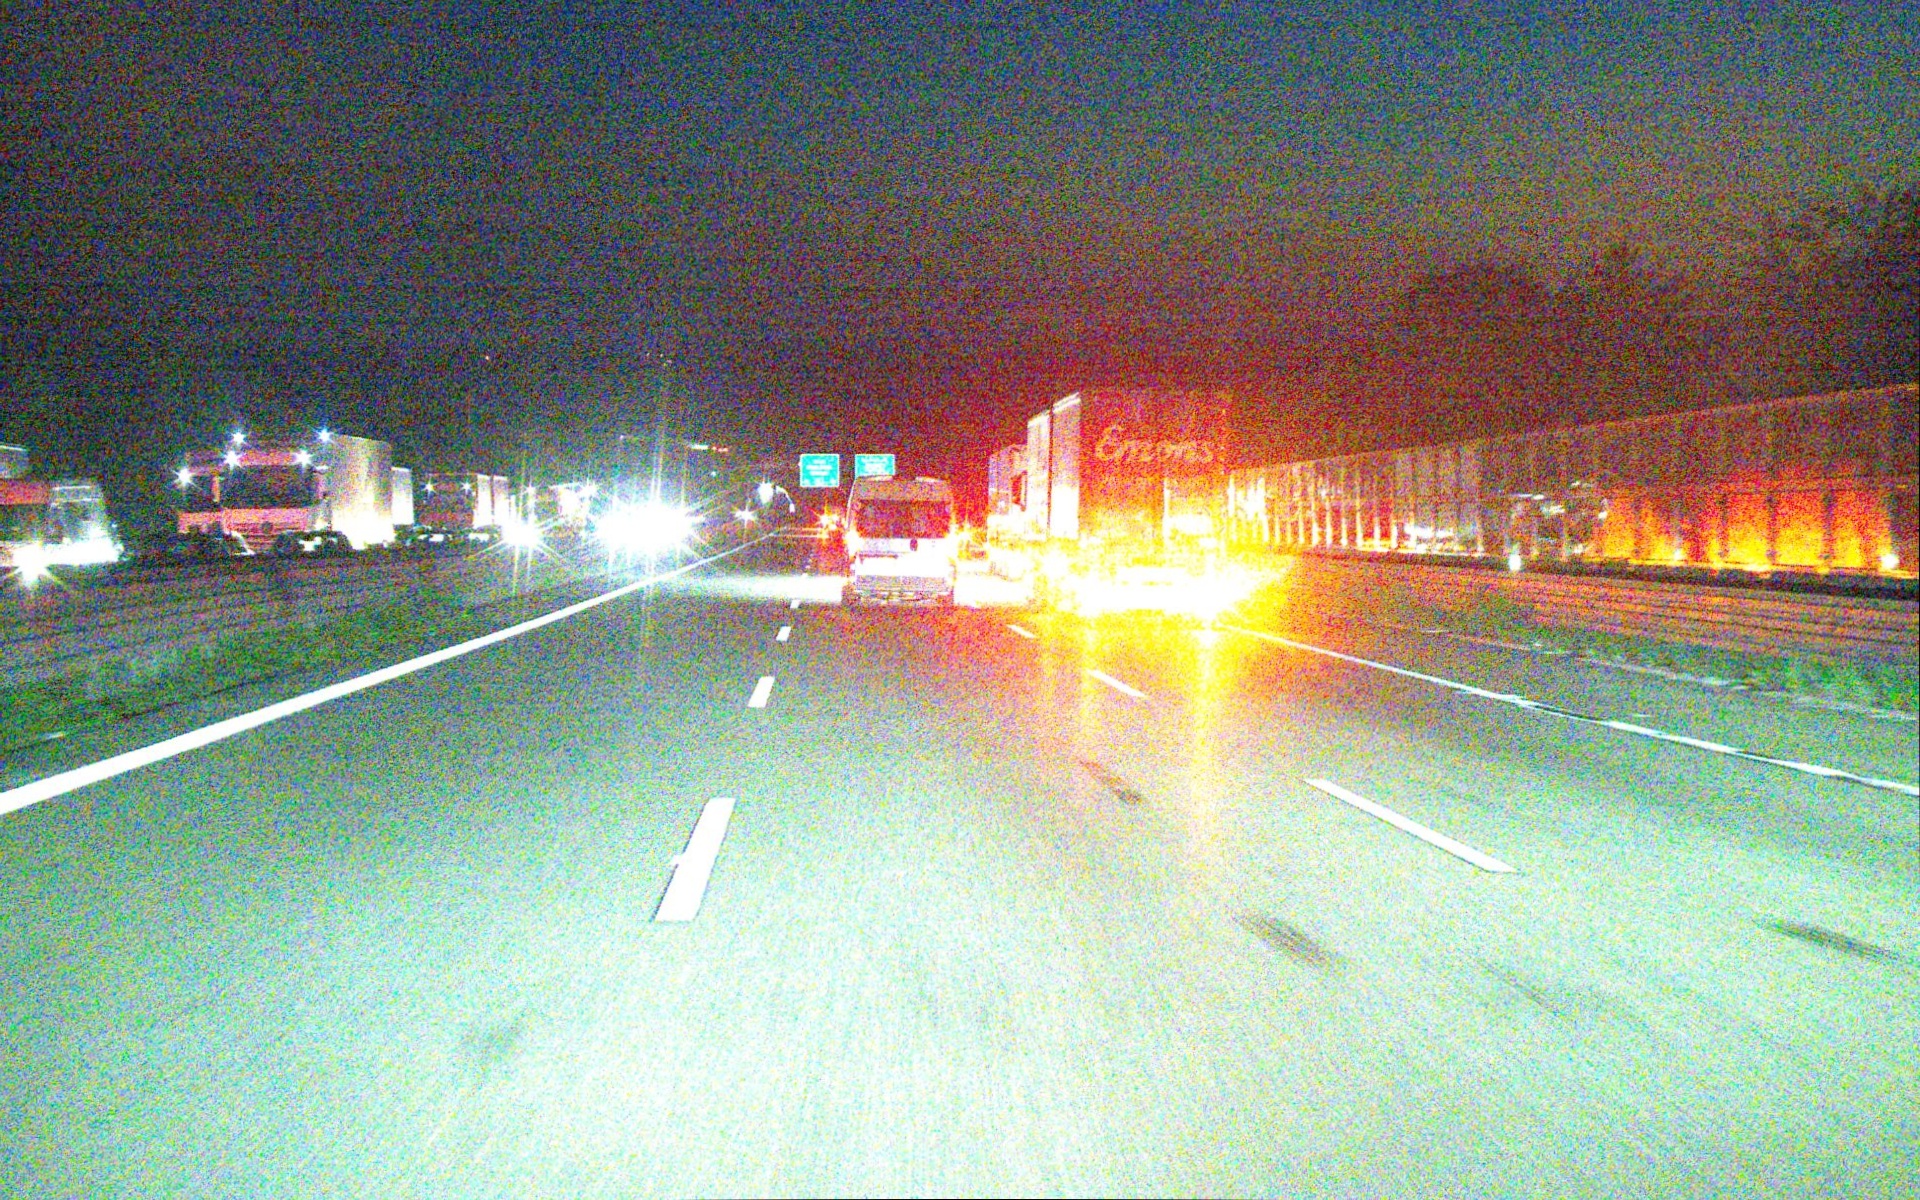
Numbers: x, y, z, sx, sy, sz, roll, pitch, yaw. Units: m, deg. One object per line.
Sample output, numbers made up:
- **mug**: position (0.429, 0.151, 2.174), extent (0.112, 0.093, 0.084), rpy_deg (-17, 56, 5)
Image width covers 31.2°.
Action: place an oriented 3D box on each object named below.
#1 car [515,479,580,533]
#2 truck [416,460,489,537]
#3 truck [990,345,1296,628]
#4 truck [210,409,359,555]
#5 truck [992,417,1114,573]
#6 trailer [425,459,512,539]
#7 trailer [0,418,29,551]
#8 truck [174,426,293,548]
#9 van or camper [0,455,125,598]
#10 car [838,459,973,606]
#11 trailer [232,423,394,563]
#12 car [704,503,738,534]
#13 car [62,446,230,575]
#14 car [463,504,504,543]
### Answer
- **car**: position (-16.533, -3.759, 138.050), extent (1.993, 2.007, 5.325), rpy_deg (2, 0, -1)
- **truck**: position (-25.585, -5.079, 173.618), extent (2.859, 3.674, 6.603), rpy_deg (2, 0, -2)
- **truck**: position (3.165, -2.027, 68.236), extent (3.915, 4.611, 21.020), rpy_deg (-2, 1, -2)
- **truck**: position (-18.142, -3.103, 92.680), extent (2.874, 3.661, 6.781), rpy_deg (2, 0, -3)
- **truck**: position (2.763, -3.260, 106.687), extent (3.344, 4.460, 13.911), rpy_deg (1, 2, 0)
- **trailer**: position (-25.920, -5.244, 181.995), extent (2.885, 3.836, 15.070), rpy_deg (2, 0, -2)
- **trailer**: position (-26.038, -2.907, 84.783), extent (2.959, 3.430, 13.439), rpy_deg (1, 1, -2)
- **truck**: position (-22.852, -3.556, 108.324), extent (2.873, 3.661, 6.052), rpy_deg (1, 2, -5)
- **van or camper**: position (-18.014, -1.439, 67.109), extent (2.083, 2.623, 7.606), rpy_deg (0, 1, -4)
- **car**: position (-0.973, -1.220, 64.448), extent (2.337, 2.631, 5.247), rpy_deg (0, 0, 1)
- **trailer**: position (-18.477, -2.945, 98.892), extent (2.885, 3.659, 12.218), rpy_deg (2, 0, -3)
- **car**: position (-15.411, -5.249, 221.651), extent (1.993, 2.007, 4.001), rpy_deg (0, 1, -6)
- **car**: position (-13.449, -1.448, 56.999), extent (1.993, 2.007, 4.001), rpy_deg (2, 0, -3)
- **car**: position (-24.743, -3.975, 178.571), extent (1.993, 2.007, 4.001), rpy_deg (0, 1, -6)
